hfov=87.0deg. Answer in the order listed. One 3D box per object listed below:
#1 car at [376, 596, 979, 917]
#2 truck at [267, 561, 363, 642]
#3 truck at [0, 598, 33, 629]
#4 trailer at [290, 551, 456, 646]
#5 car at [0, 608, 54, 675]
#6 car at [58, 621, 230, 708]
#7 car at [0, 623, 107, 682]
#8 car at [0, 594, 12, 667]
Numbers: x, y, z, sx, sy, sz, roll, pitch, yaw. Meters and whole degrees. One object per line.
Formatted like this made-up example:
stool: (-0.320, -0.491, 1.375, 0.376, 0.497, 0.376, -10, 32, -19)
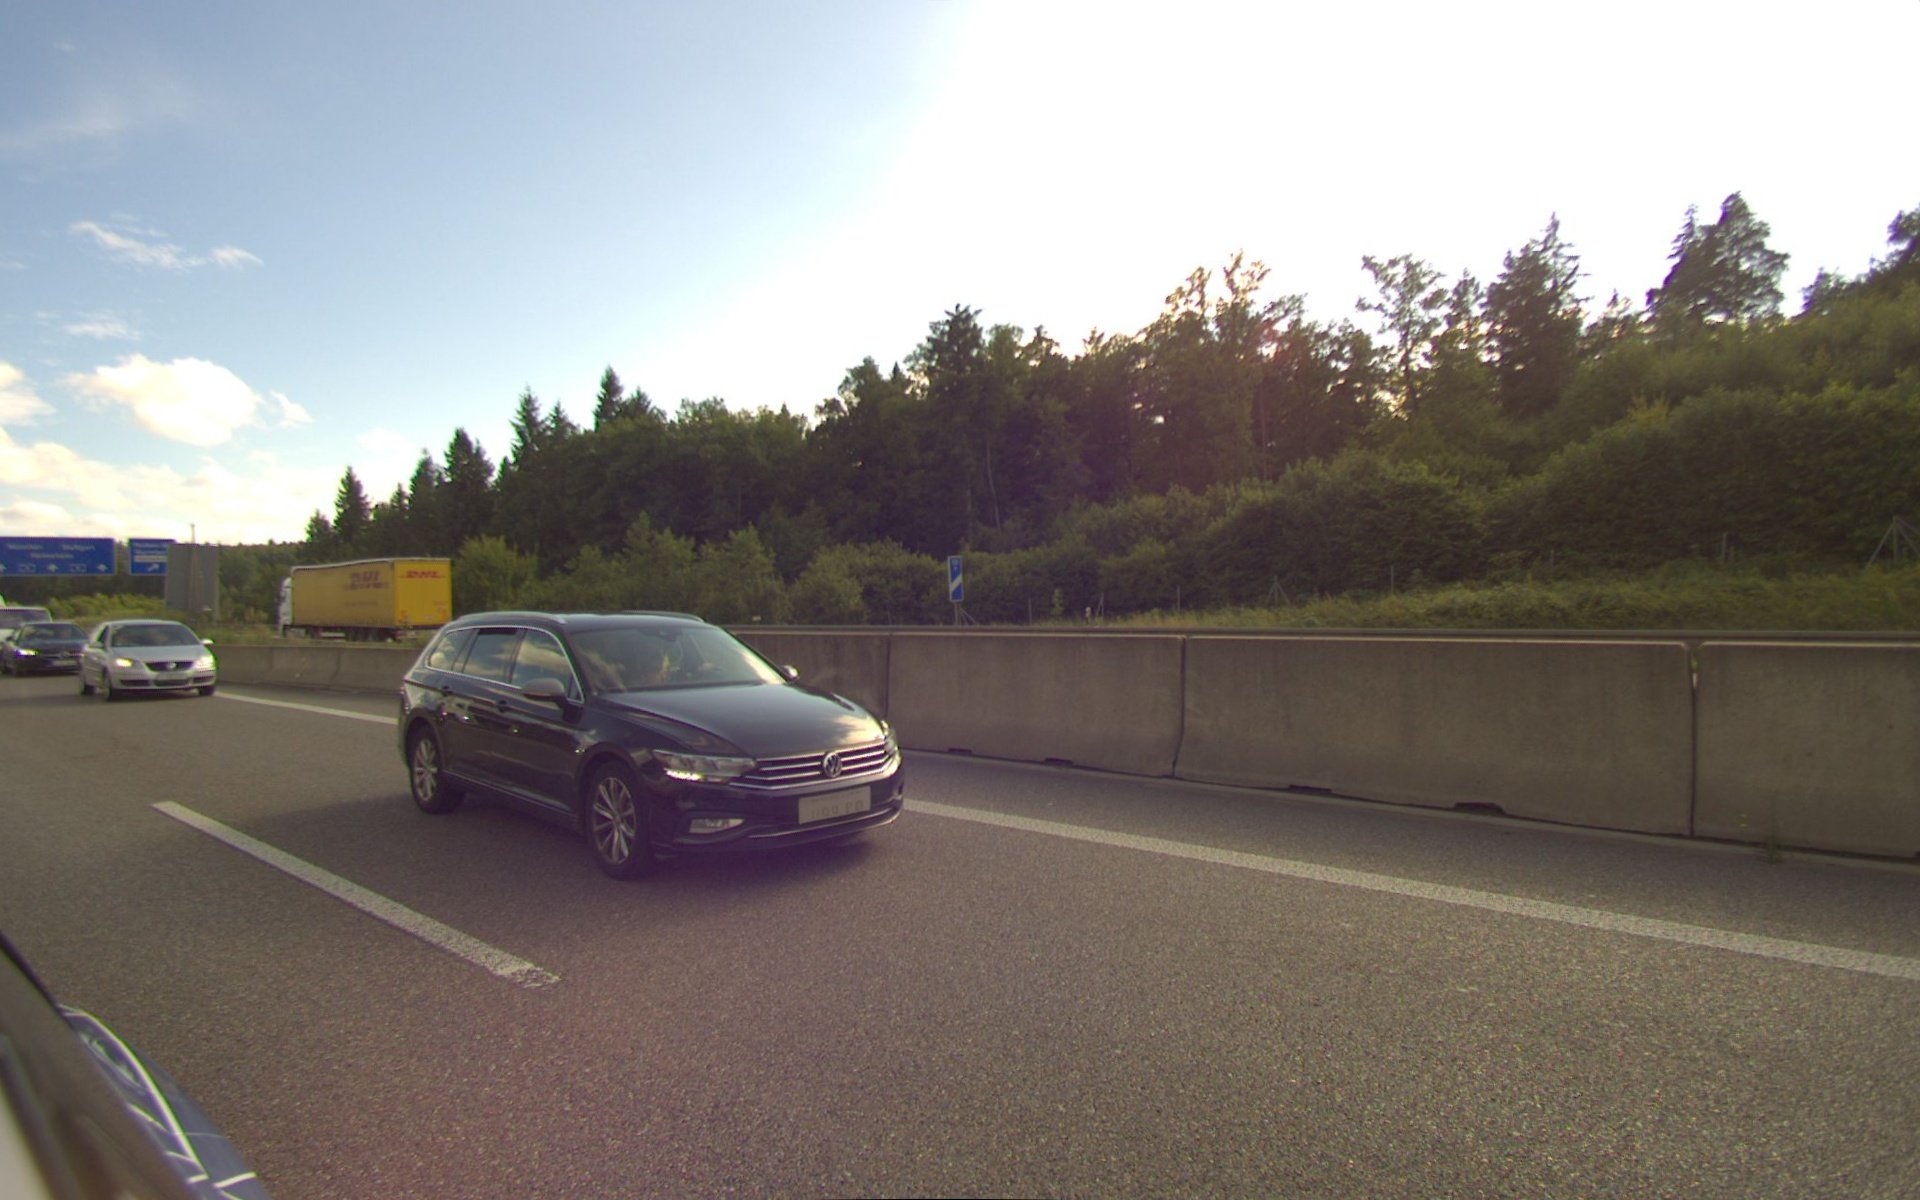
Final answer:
car: (-2.198, 0.766, 6.962, 4.568, 1.488, 1.890, -1, -1, 43)
truck: (-35.650, 0.087, 55.864, 6.075, 4.234, 2.805, -1, 0, 40)
truck: (-136.669, 1.924, 146.334, 12.043, 4.234, 2.803, -1, 0, 43)
trailer: (-29.736, -0.011, 50.815, 13.553, 4.234, 2.805, -1, 0, 40)
car: (-30.636, 1.302, 32.322, 4.845, 1.980, 1.922, -1, 0, 41)
car: (-15.917, 1.169, 19.652, 4.663, 1.442, 1.786, -1, 0, 41)
car: (-24.848, 1.390, 27.636, 3.991, 1.442, 1.786, -1, 0, 41)
car: (-36.695, 1.128, 37.219, 5.858, 2.591, 2.028, -1, -2, 41)
